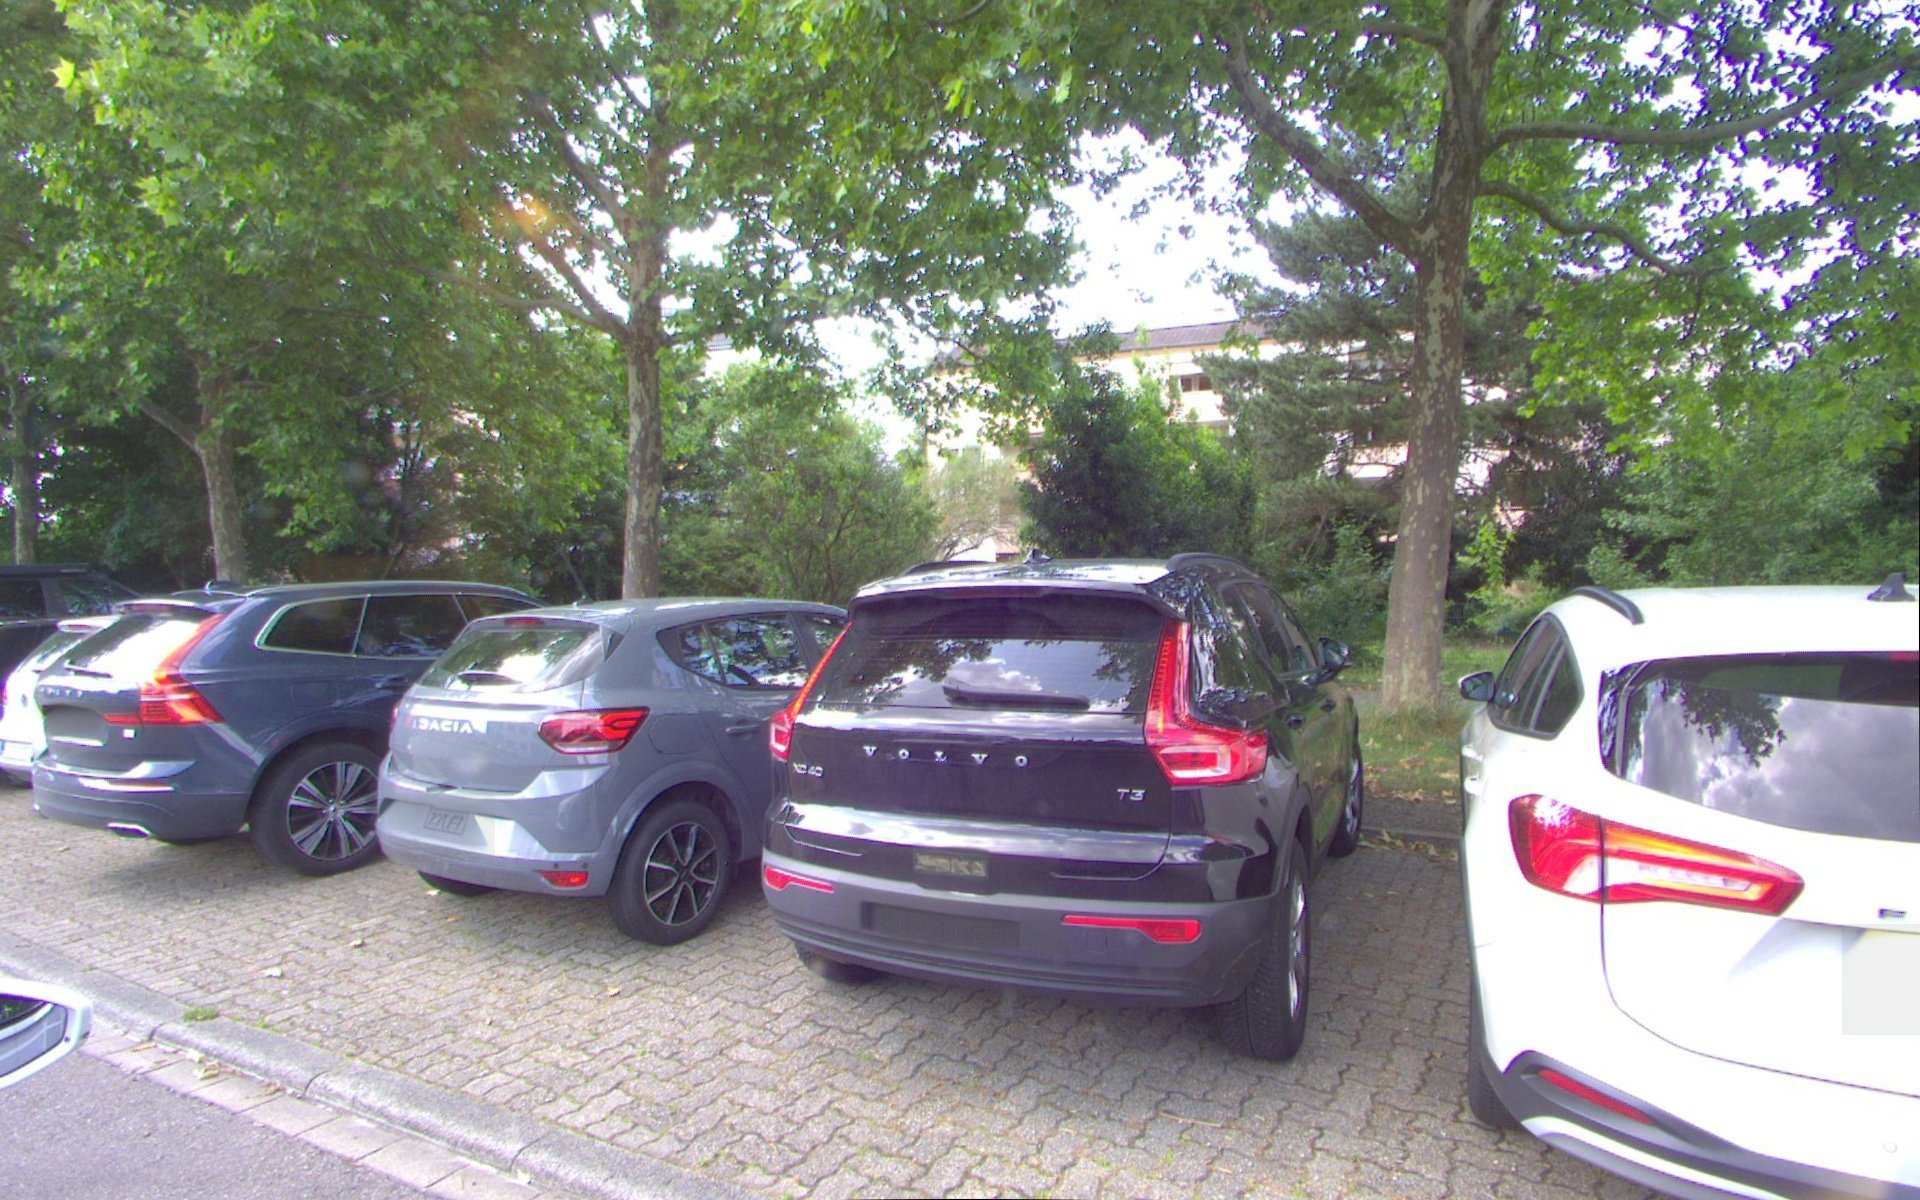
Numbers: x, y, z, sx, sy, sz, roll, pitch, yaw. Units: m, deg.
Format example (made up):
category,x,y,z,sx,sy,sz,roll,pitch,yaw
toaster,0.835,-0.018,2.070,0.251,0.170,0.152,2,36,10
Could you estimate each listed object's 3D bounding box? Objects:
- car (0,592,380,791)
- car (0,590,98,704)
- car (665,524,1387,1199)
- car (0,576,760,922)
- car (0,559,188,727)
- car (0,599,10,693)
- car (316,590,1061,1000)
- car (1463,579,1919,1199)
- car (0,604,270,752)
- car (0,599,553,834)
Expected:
category,x,y,z,sx,sy,sz,roll,pitch,yaw
car,-8.231,0.757,10.050,1.725,1.627,3.969,0,1,20
car,-16.423,0.765,15.325,1.828,1.790,4.538,0,1,30
car,0.922,0.612,4.851,1.818,1.648,4.655,0,1,27
car,-3.594,0.687,7.113,1.731,1.661,4.371,0,1,32
car,-13.229,0.565,13.128,1.828,2.152,4.538,0,1,30
car,-18.789,0.857,16.225,1.826,1.683,4.543,0,1,26
car,-1.133,0.725,6.103,1.731,1.521,4.371,0,1,32
car,2.834,0.677,3.601,1.818,1.493,4.655,0,1,27
car,-10.602,0.851,11.562,1.730,1.514,3.959,-1,1,30
car,-5.842,0.780,8.812,1.730,1.514,3.959,0,1,30
